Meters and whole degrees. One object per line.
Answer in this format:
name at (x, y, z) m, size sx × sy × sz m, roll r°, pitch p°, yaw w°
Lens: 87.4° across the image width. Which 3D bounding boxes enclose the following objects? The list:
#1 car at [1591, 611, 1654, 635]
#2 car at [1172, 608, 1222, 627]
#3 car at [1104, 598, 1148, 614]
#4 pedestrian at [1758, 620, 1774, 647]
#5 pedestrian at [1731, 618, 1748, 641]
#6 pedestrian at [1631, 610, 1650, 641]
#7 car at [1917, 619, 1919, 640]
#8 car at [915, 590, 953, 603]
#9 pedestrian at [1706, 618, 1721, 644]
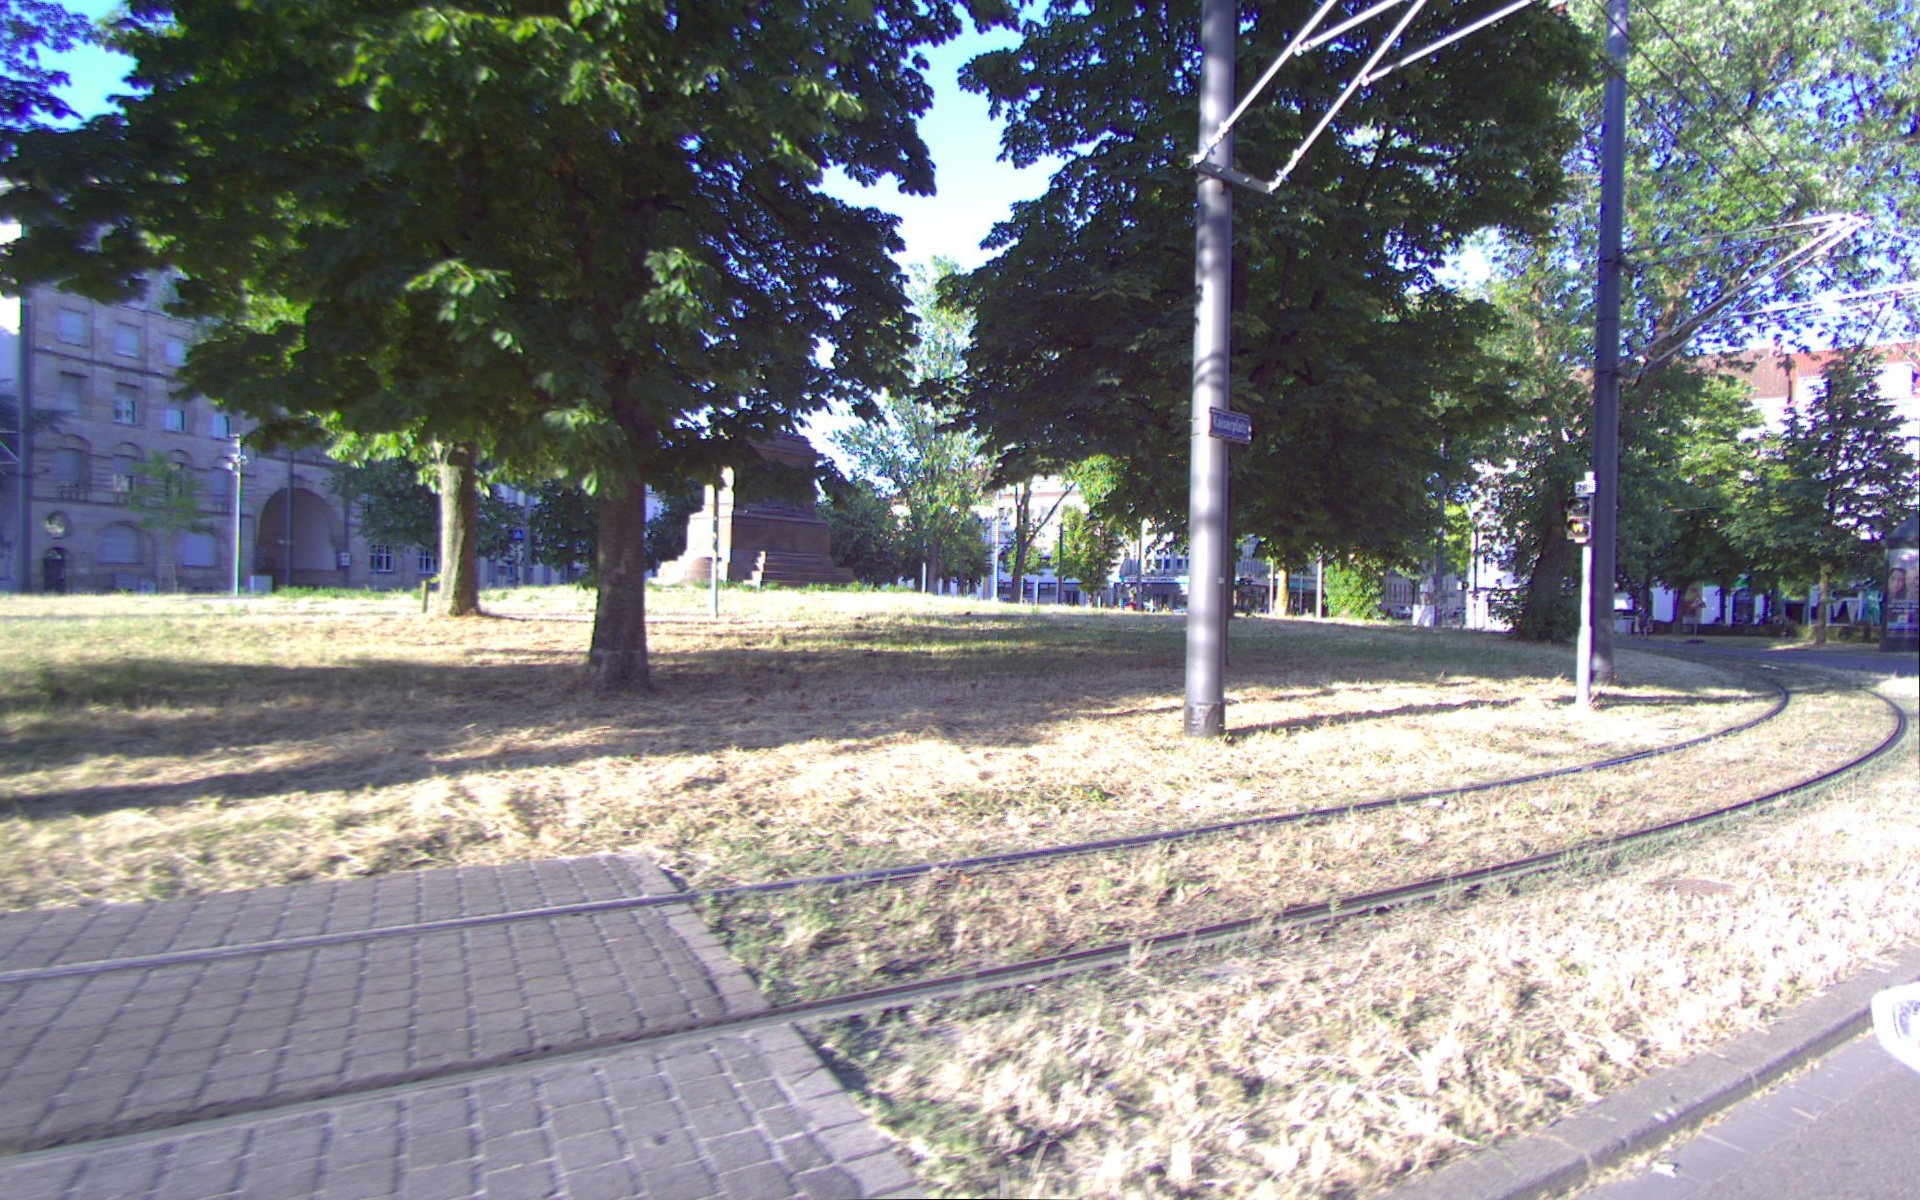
car at (46.805, 1.604, 70.998) m, size 3.569 × 1.573 × 1.654 m, roll 2°, pitch 1°, yaw 40°
car at (20.174, 1.501, 85.597) m, size 3.894 × 1.483 × 1.585 m, roll 2°, pitch 1°, yaw -20°
car at (16.876, 0.641, 102.256) m, size 3.938 × 1.483 × 1.991 m, roll 2°, pitch 1°, yaw 39°
pedestrian at (46.528, 1.953, 58.004) m, size 0.653 × 1.517 × 0.530 m, roll 1°, pitch 1°, yaw -35°
pedestrian at (47.889, 1.811, 61.738) m, size 0.654 × 1.370 × 0.661 m, roll 1°, pitch 1°, yaw -40°
pedestrian at (36.495, 1.366, 53.868) m, size 0.550 × 1.587 × 0.594 m, roll 2°, pitch 1°, yaw 9°
car at (63.455, 1.970, 63.613) m, size 3.939 × 1.318 × 1.844 m, roll 2°, pitch 1°, yaw 40°
car at (-2.854, -0.400, 111.435) m, size 3.896 × 1.272 × 1.600 m, roll 3°, pitch 1°, yaw 30°
pedestrian at (45.132, 1.854, 60.155) m, size 0.653 × 1.517 × 0.530 m, roll 1°, pitch 1°, yaw -35°
